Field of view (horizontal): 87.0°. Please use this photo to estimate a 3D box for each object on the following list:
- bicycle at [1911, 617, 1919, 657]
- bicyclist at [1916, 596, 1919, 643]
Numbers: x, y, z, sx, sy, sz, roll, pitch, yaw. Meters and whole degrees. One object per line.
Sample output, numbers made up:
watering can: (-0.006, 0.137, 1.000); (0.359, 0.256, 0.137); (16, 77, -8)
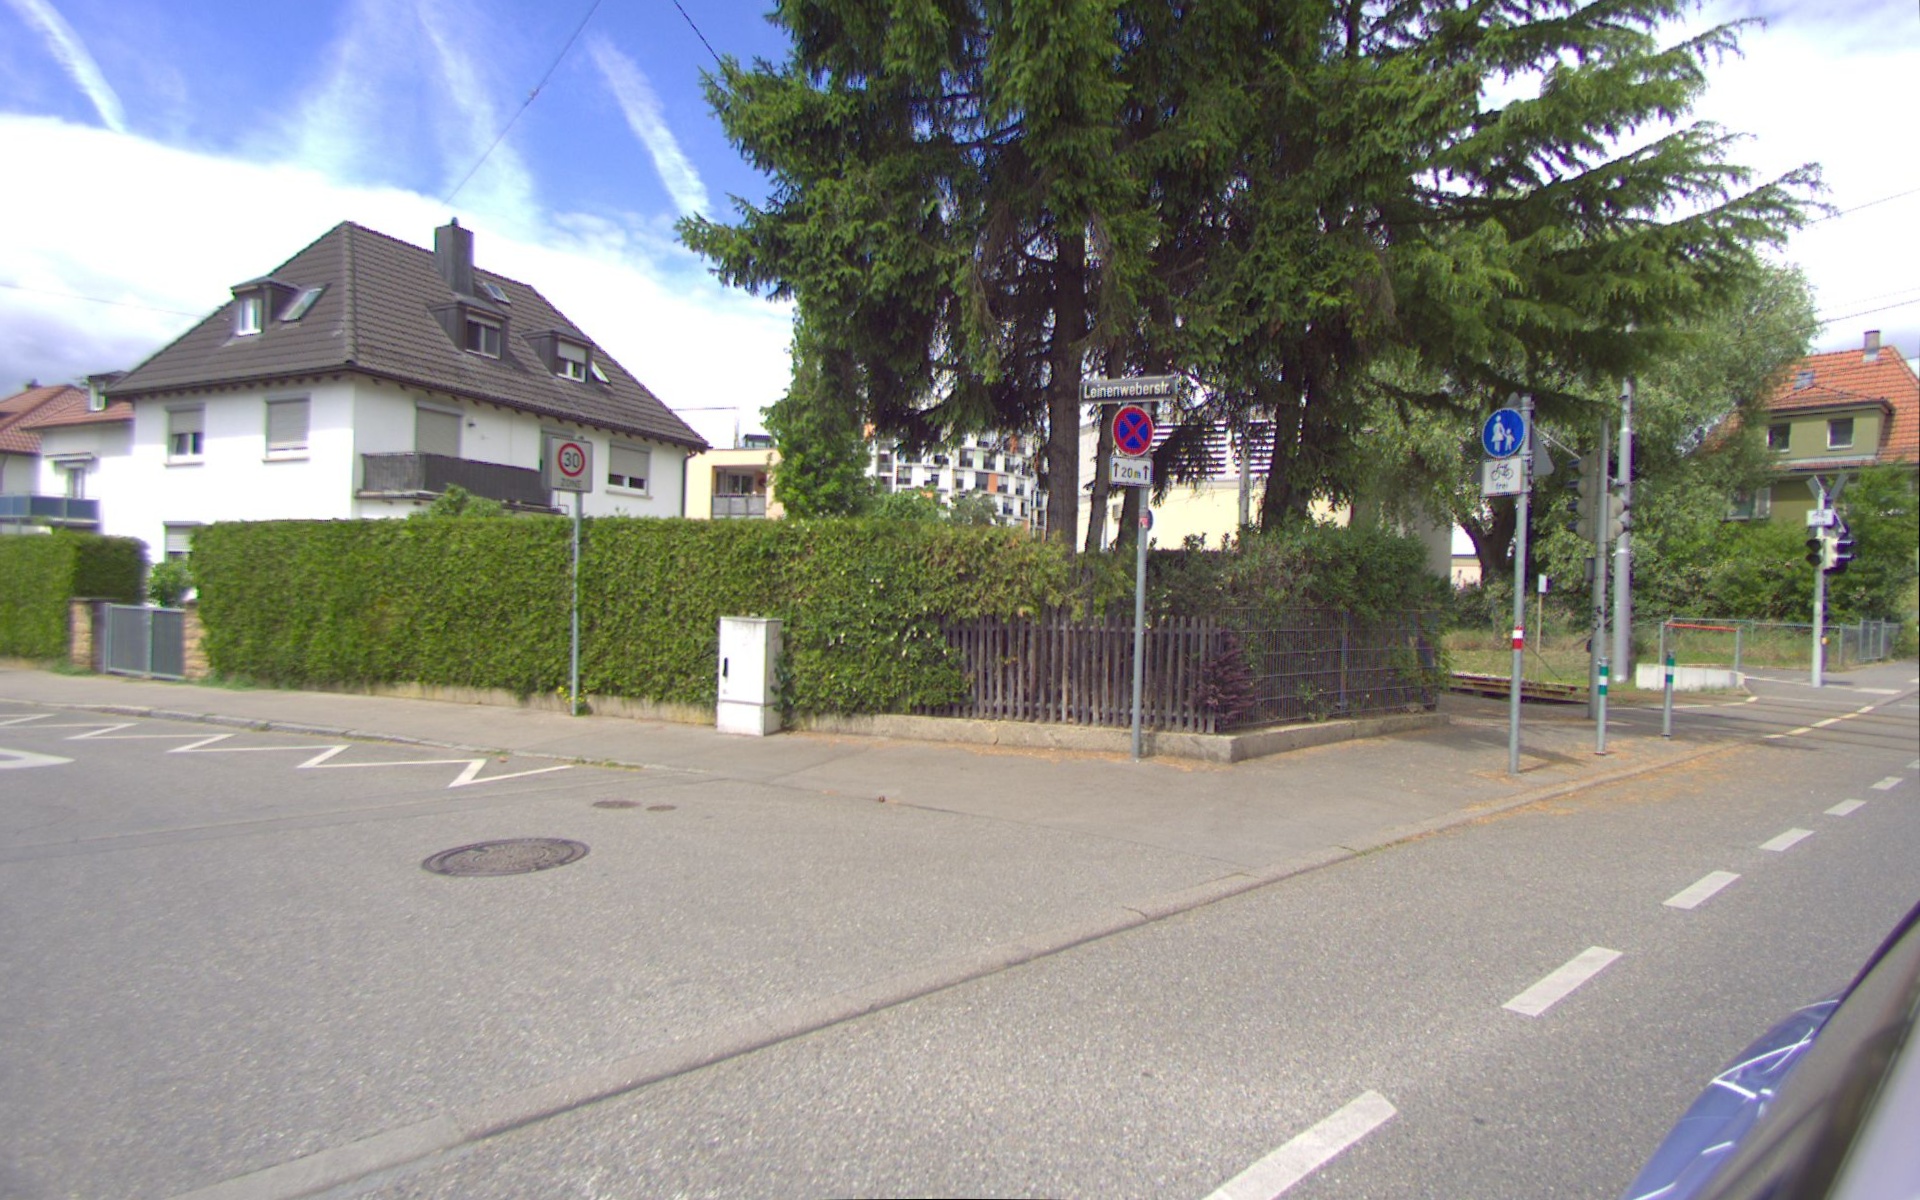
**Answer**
bicycle: (26.199, 1.007, 26.931); (1.879, 1.053, 0.935); (1, 2, -37)
bicyclist: (26.226, 0.553, 26.932); (1.082, 1.263, 0.935); (2, 2, -37)
